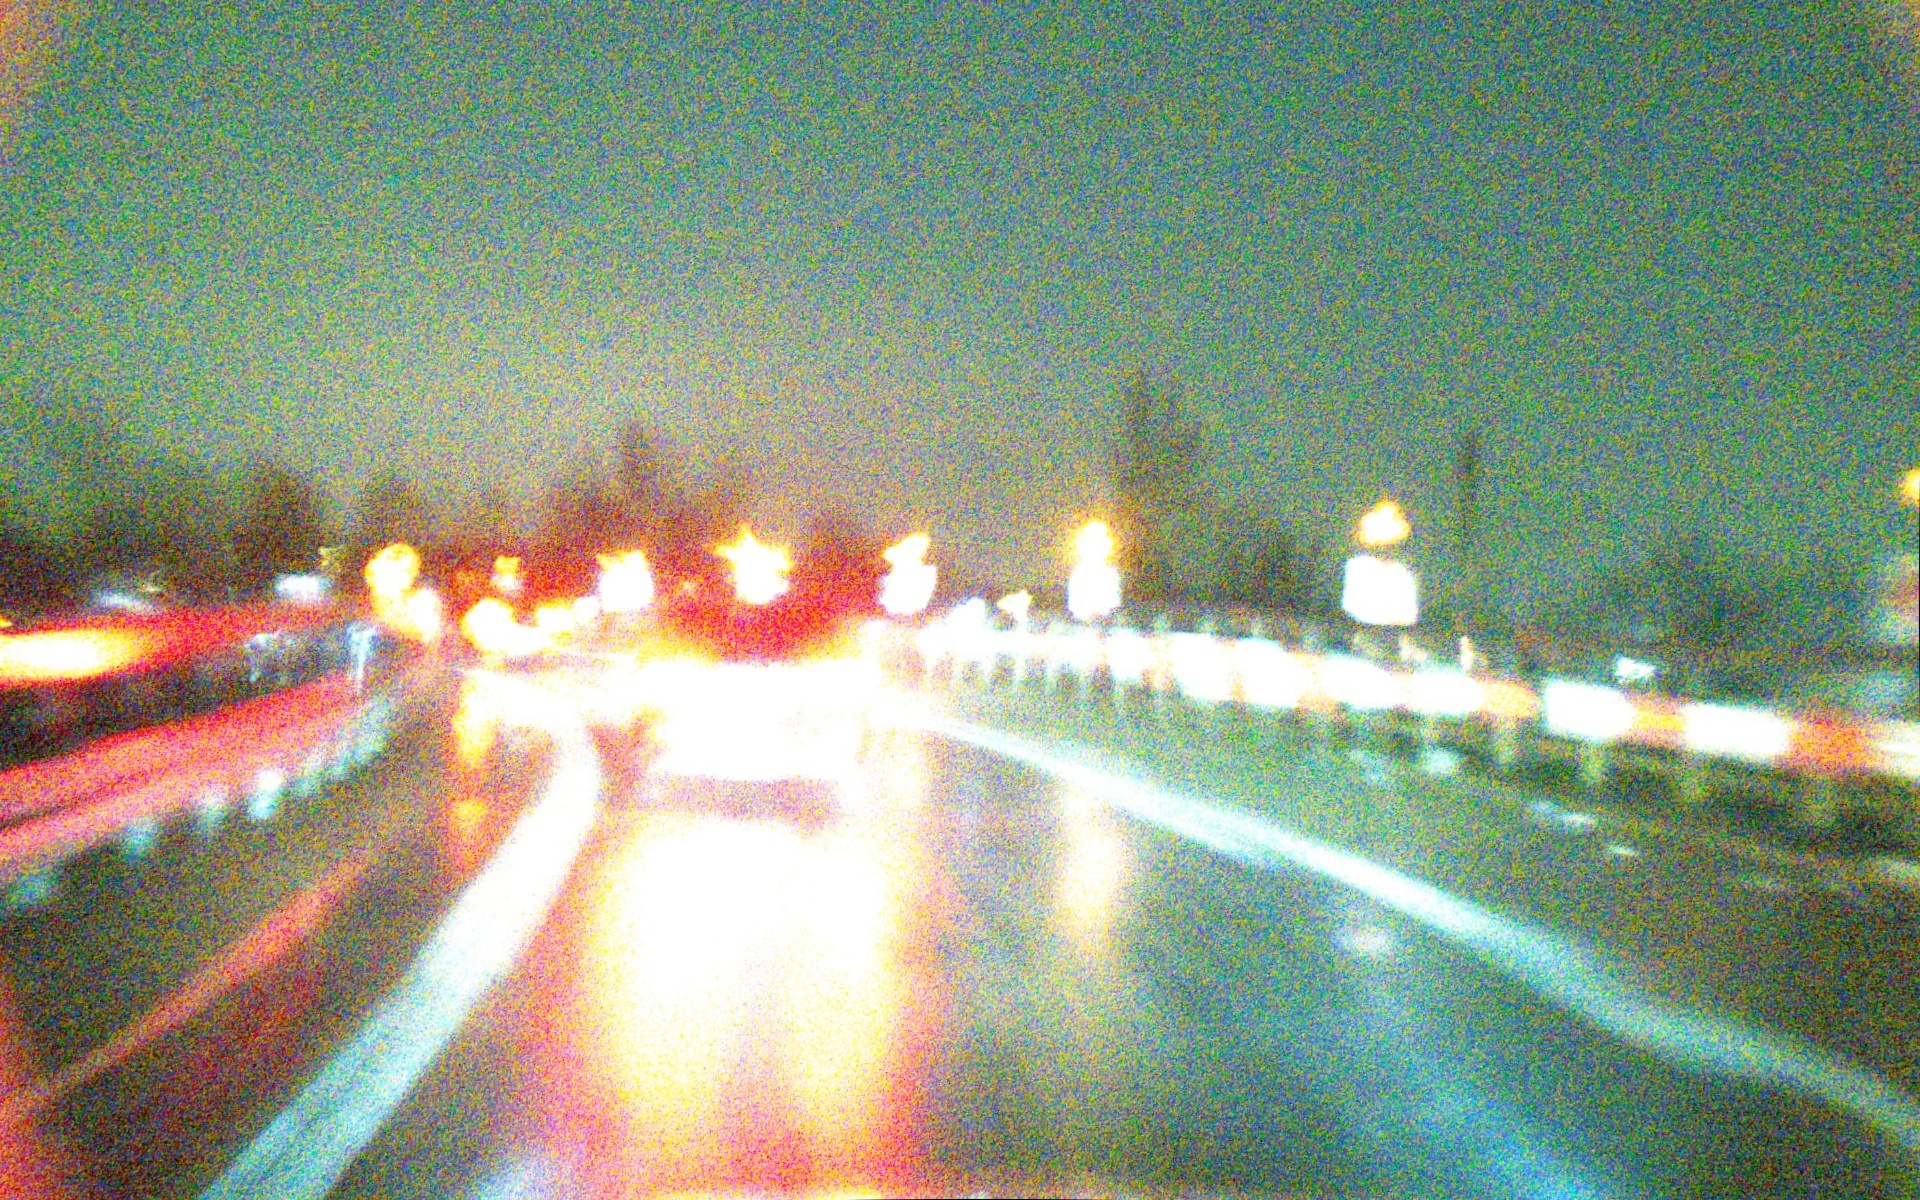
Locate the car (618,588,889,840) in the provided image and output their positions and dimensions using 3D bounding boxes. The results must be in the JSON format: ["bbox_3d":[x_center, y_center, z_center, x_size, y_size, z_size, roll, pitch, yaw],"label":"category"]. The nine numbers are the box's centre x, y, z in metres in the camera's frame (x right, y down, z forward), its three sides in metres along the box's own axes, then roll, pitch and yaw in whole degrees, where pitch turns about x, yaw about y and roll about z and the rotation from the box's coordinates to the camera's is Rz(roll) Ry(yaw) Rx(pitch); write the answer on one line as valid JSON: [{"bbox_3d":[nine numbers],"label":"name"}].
[{"bbox_3d":[-1.765,0.748,13.269,1.827,1.676,4.058,0,0,-11],"label":"car"}]

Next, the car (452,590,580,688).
[{"bbox_3d":[-8.578,0.694,31.768,1.869,1.750,4.018,1,0,-22],"label":"car"}]

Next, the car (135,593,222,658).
[{"bbox_3d":[-26.192,0.807,55.379,1.881,2.033,3.993,1,1,-37],"label":"car"}]

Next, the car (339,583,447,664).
[{"bbox_3d":[-15.365,0.623,44.699,1.877,2.076,4.001,1,-1,-32],"label":"car"}]
